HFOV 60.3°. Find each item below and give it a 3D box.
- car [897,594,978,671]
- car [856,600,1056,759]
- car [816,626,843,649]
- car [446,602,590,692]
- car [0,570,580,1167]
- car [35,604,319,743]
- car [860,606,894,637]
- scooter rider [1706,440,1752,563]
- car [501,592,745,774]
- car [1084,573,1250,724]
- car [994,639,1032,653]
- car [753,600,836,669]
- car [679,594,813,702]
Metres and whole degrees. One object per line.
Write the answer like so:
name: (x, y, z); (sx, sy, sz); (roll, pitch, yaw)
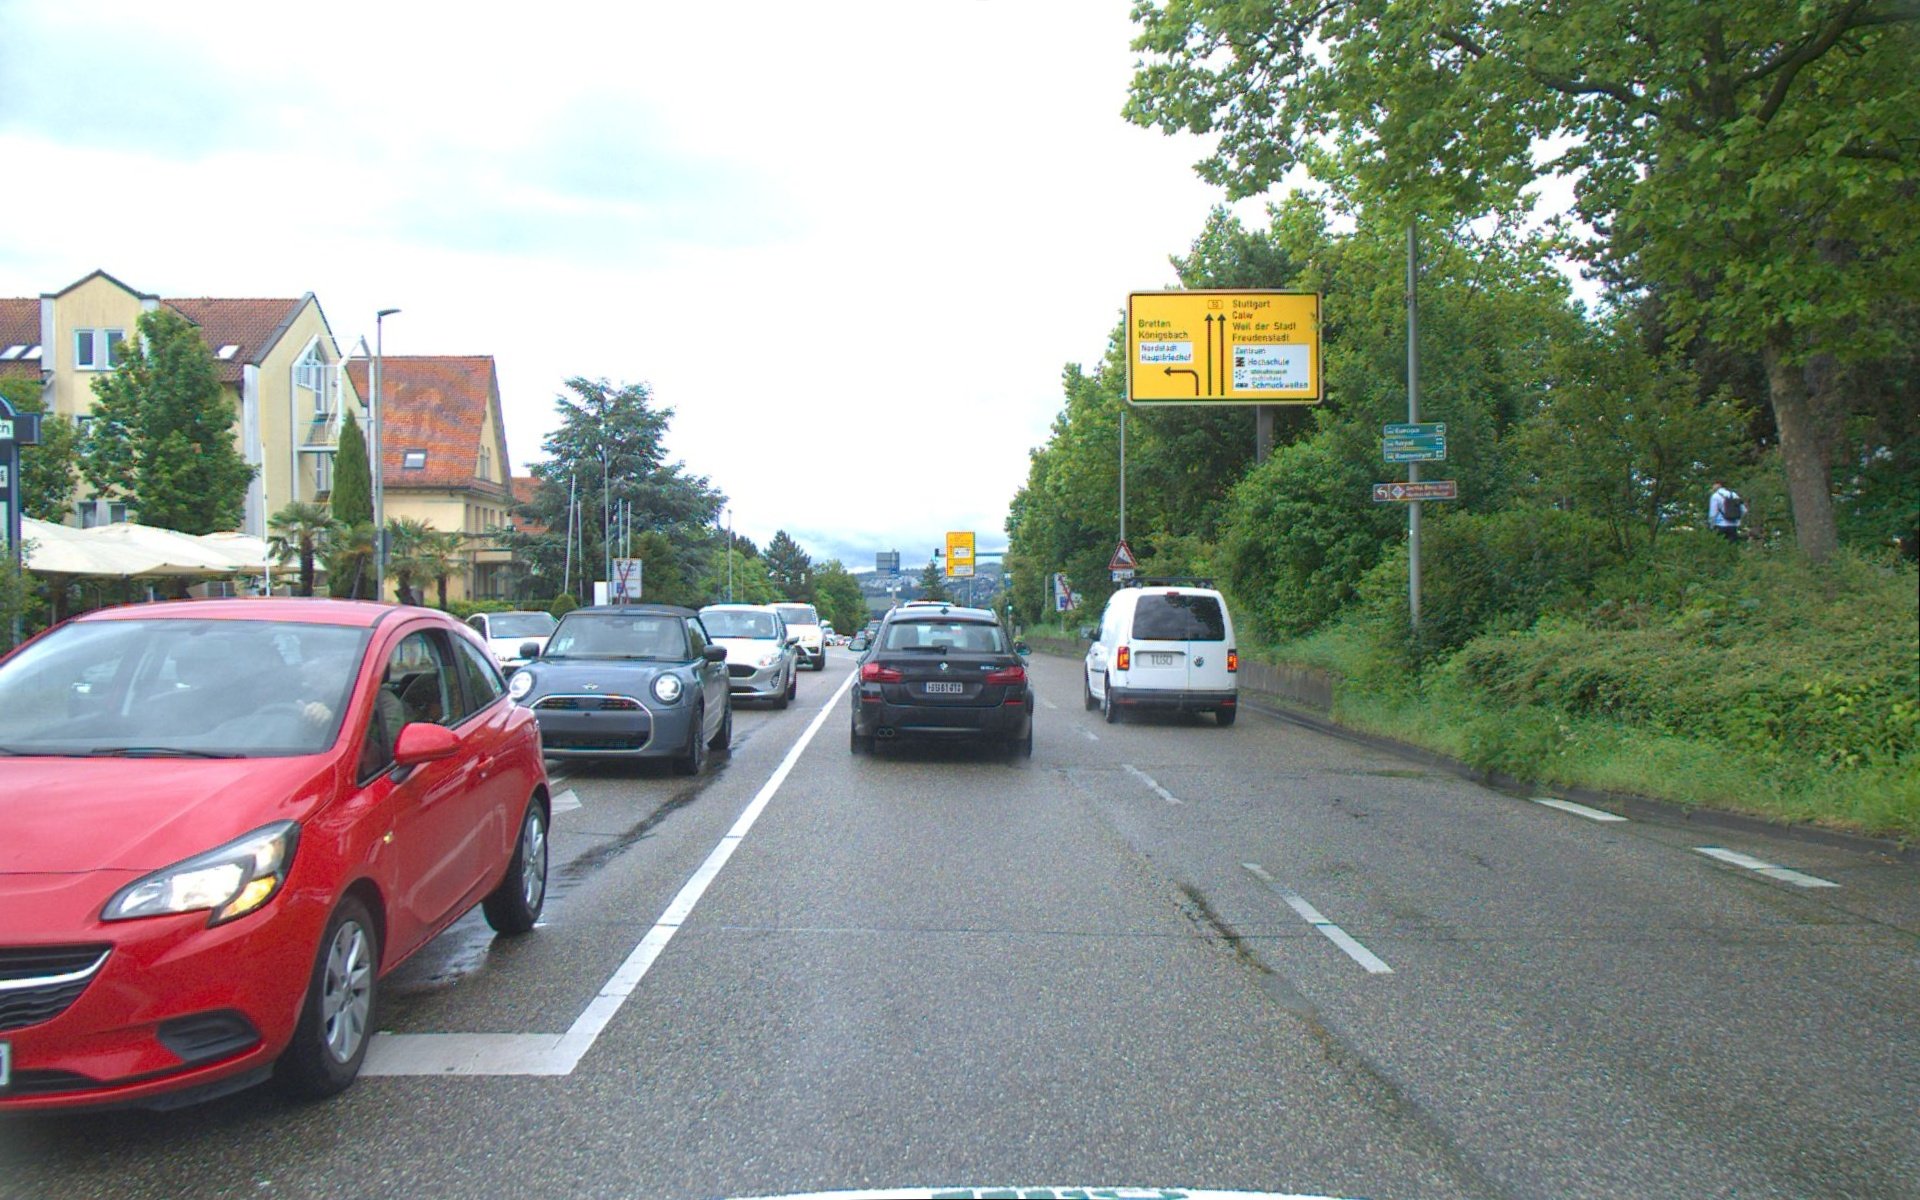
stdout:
car: (-0.537, 0.734, 39.888); (1.830, 1.703, 4.000); (0, 1, -1)
car: (-0.054, 0.757, 17.477); (1.860, 1.467, 3.999); (0, 0, -1)
car: (-11.047, 3.146, 140.065); (1.878, 1.793, 5.142); (-3, -1, -1)
car: (-8.121, 0.820, 30.169); (1.619, 1.503, 4.005); (0, -1, -29)
car: (-2.641, 0.689, 6.132); (1.599, 1.459, 4.143); (-1, -1, -2)
car: (-9.607, 0.826, 20.702); (1.570, 1.424, 4.403); (-2, 1, -3)
car: (-4.917, 1.239, 98.269); (1.830, 1.703, 4.000); (0, 1, -1)
scooter rider: (12.715, -1.615, 27.337); (0.490, 1.999, 0.547); (-1, 1, -1)
car: (-3.026, 0.674, 15.575); (1.569, 1.466, 3.947); (1, 1, -2)
car: (2.785, 0.589, 23.034); (1.729, 1.910, 3.804); (0, 1, -2)
car: (5.557, 4.771, 172.040); (3.903, 1.401, 1.585); (0, -2, 3)
car: (-4.045, 0.832, 40.862); (1.751, 1.609, 4.237); (0, -1, -2)
car: (-3.105, 0.680, 24.594); (1.569, 1.466, 3.947); (1, -1, -2)
